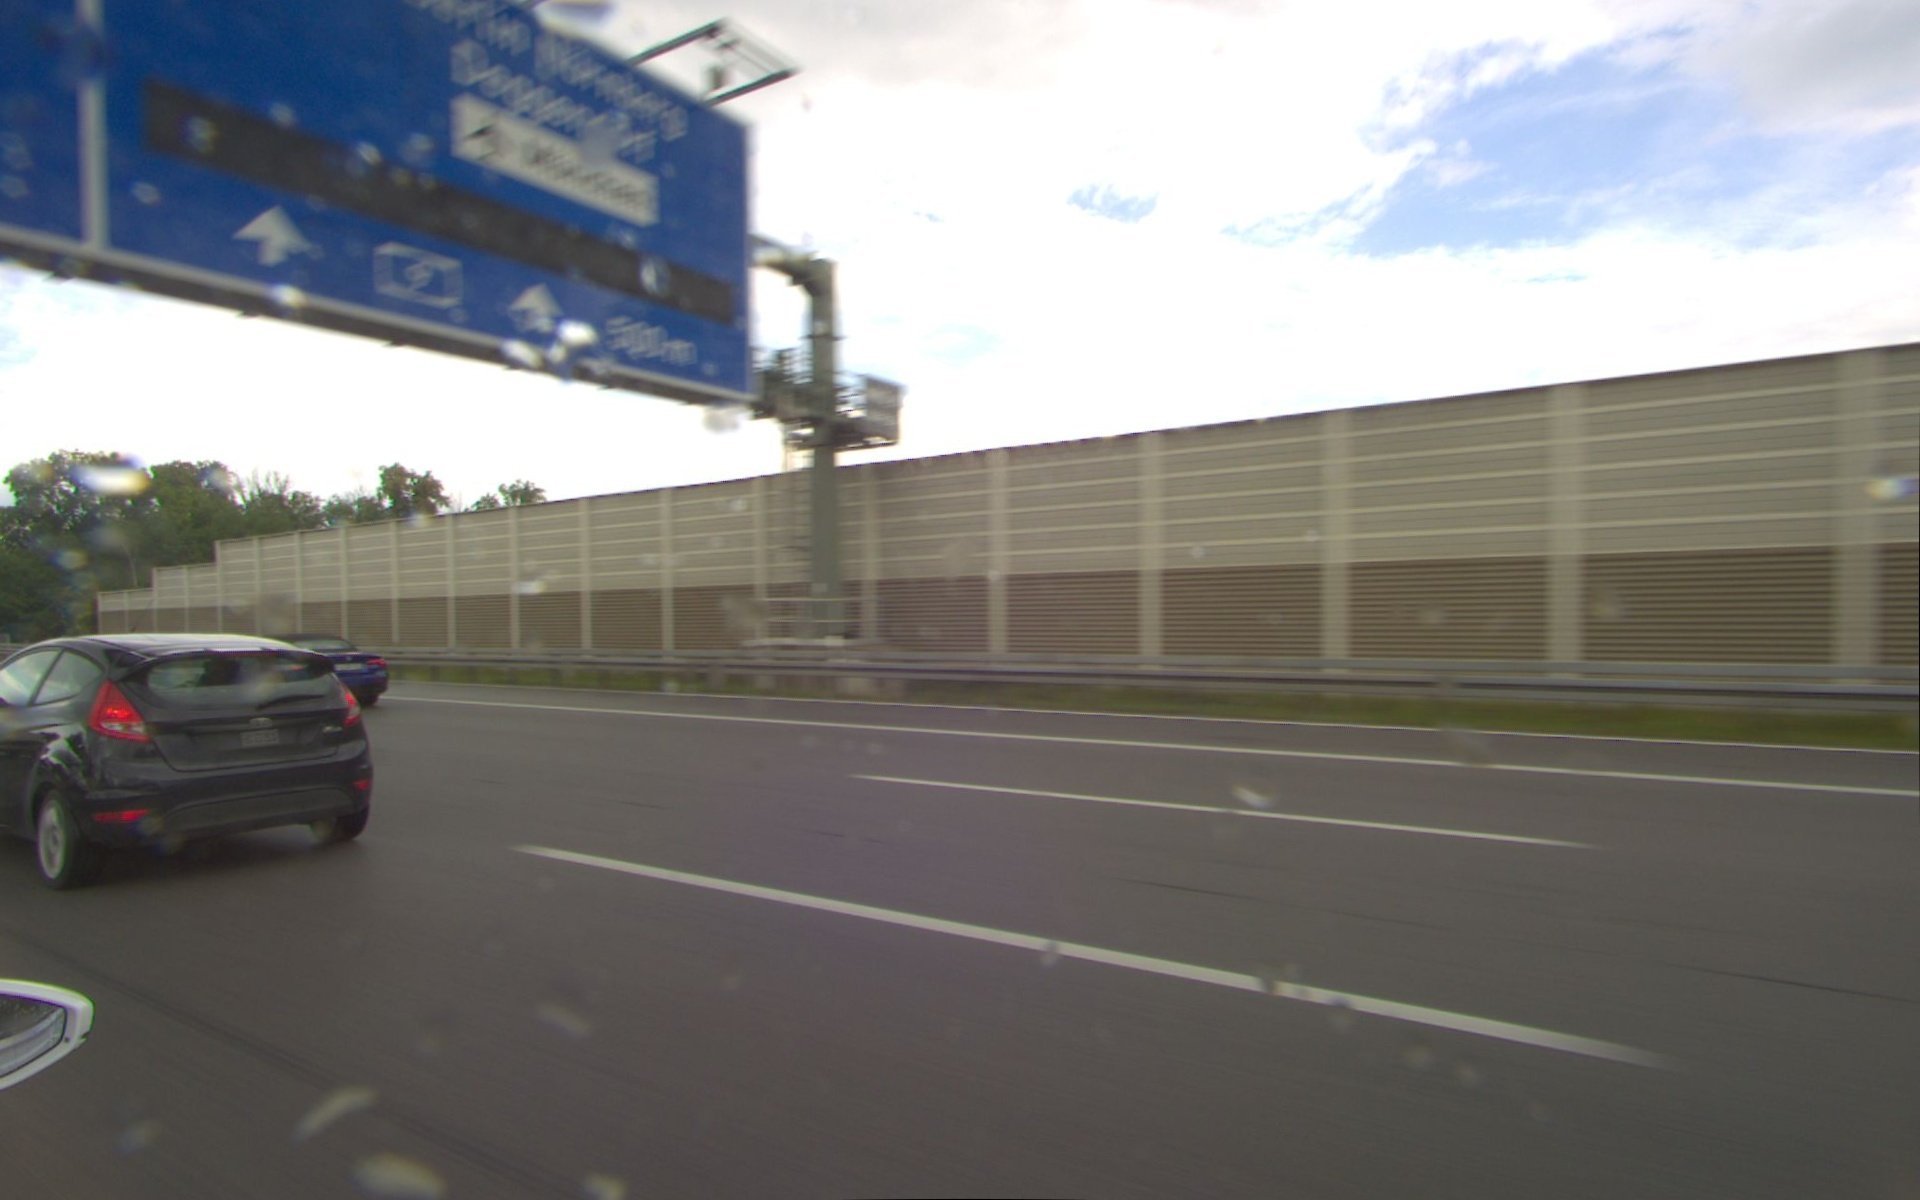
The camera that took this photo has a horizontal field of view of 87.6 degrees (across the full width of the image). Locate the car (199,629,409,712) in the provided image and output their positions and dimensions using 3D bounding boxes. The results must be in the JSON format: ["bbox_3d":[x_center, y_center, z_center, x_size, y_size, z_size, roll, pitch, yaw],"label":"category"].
[{"bbox_3d":[-12.873,1.302,19.591,4.173,1.437,1.945,-1,-1,33],"label":"car"}]

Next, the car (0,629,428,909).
[{"bbox_3d":[-5.786,0.957,7.088,4.218,1.435,1.714,-2,-1,32],"label":"car"}]
